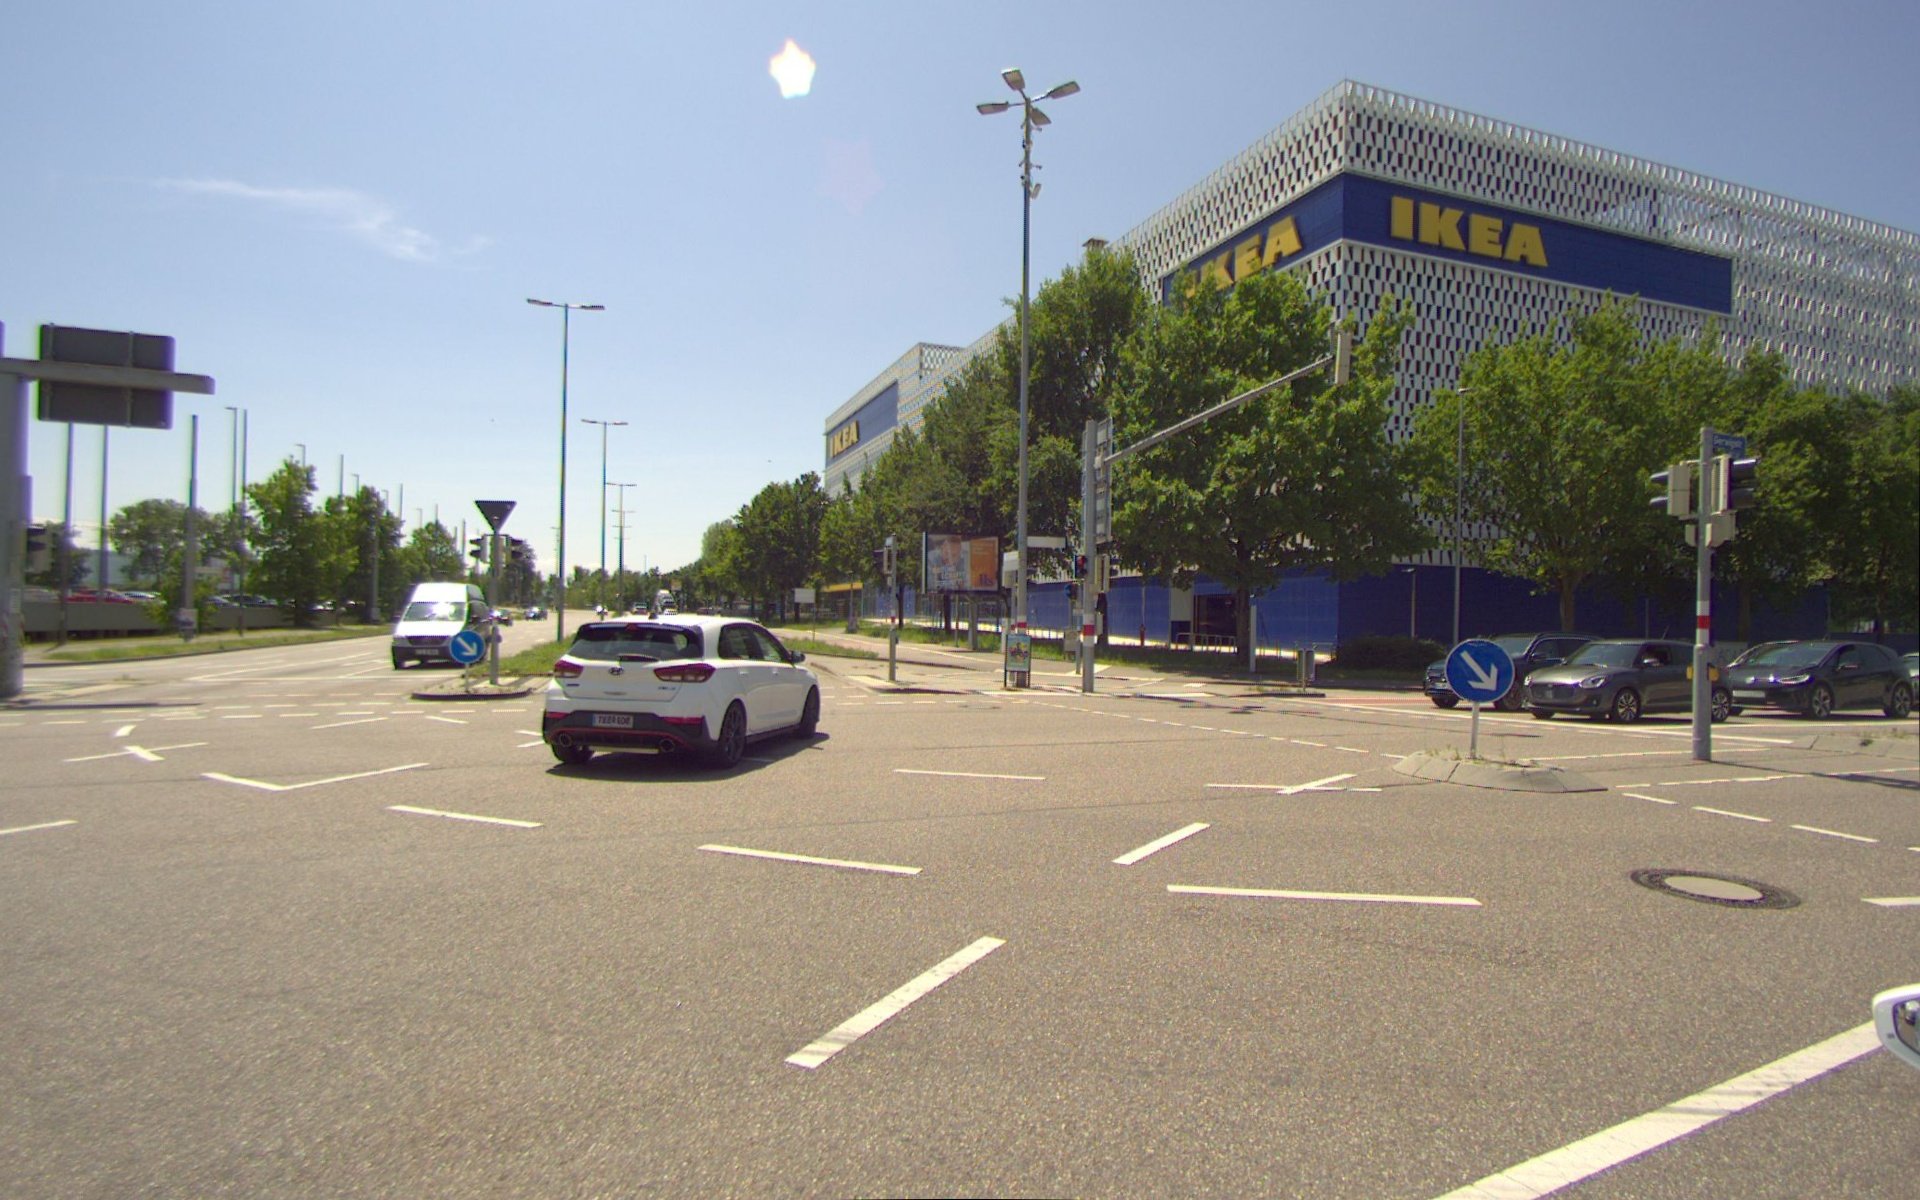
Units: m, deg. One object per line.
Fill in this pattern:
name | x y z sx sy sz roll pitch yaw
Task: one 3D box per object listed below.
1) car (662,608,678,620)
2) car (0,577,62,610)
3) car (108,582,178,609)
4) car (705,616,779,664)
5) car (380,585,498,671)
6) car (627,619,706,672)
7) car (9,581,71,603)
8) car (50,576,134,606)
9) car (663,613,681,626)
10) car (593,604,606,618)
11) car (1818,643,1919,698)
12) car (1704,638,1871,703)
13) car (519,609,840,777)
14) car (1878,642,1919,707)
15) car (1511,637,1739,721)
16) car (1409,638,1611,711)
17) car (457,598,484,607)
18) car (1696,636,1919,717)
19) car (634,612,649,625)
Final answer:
car | -40.656 1.946 140.800 1.970 1.572 3.982 1 -1 -20
car | -61.776 -0.424 65.497 4.265 2.040 1.991 2 -1 -21
car | -66.541 -0.332 81.912 3.940 2.040 1.991 2 -1 -21
car | -7.641 1.446 34.878 1.777 1.459 4.536 3 -5 -21
car | -14.733 0.773 28.708 1.967 2.212 5.032 1 -1 -16
car | -8.534 1.294 29.496 1.667 1.441 4.004 0 -1 -8
car | -88.758 -0.763 96.972 3.942 2.040 1.990 1 -1 -22
car | -65.119 -0.652 75.430 4.265 2.040 1.991 2 -1 -21
car | -37.817 2.554 131.828 1.969 1.572 3.984 1 -1 -19
car | -56.713 1.762 158.008 1.788 2.040 3.982 1 -1 -20
car | 26.432 1.933 28.155 4.556 1.441 1.743 1 -3 -22
car | 21.414 1.810 26.007 3.858 1.564 1.724 2 -2 -22
car | -2.765 0.869 10.963 1.757 1.455 4.073 1 -1 10
car | 23.689 1.736 23.143 4.646 1.464 1.725 2 -3 -19
car | 12.066 1.427 18.251 3.660 1.407 1.642 2 -3 -21
car | 11.763 1.573 21.501 3.979 1.442 1.658 2 -2 -22
car | -84.633 0.482 173.689 3.961 1.441 1.684 2 -1 -30
car | 17.404 1.561 20.613 4.180 1.525 1.724 2 -3 -21
car | -42.251 2.451 133.250 1.894 1.572 3.595 1 -1 -17
